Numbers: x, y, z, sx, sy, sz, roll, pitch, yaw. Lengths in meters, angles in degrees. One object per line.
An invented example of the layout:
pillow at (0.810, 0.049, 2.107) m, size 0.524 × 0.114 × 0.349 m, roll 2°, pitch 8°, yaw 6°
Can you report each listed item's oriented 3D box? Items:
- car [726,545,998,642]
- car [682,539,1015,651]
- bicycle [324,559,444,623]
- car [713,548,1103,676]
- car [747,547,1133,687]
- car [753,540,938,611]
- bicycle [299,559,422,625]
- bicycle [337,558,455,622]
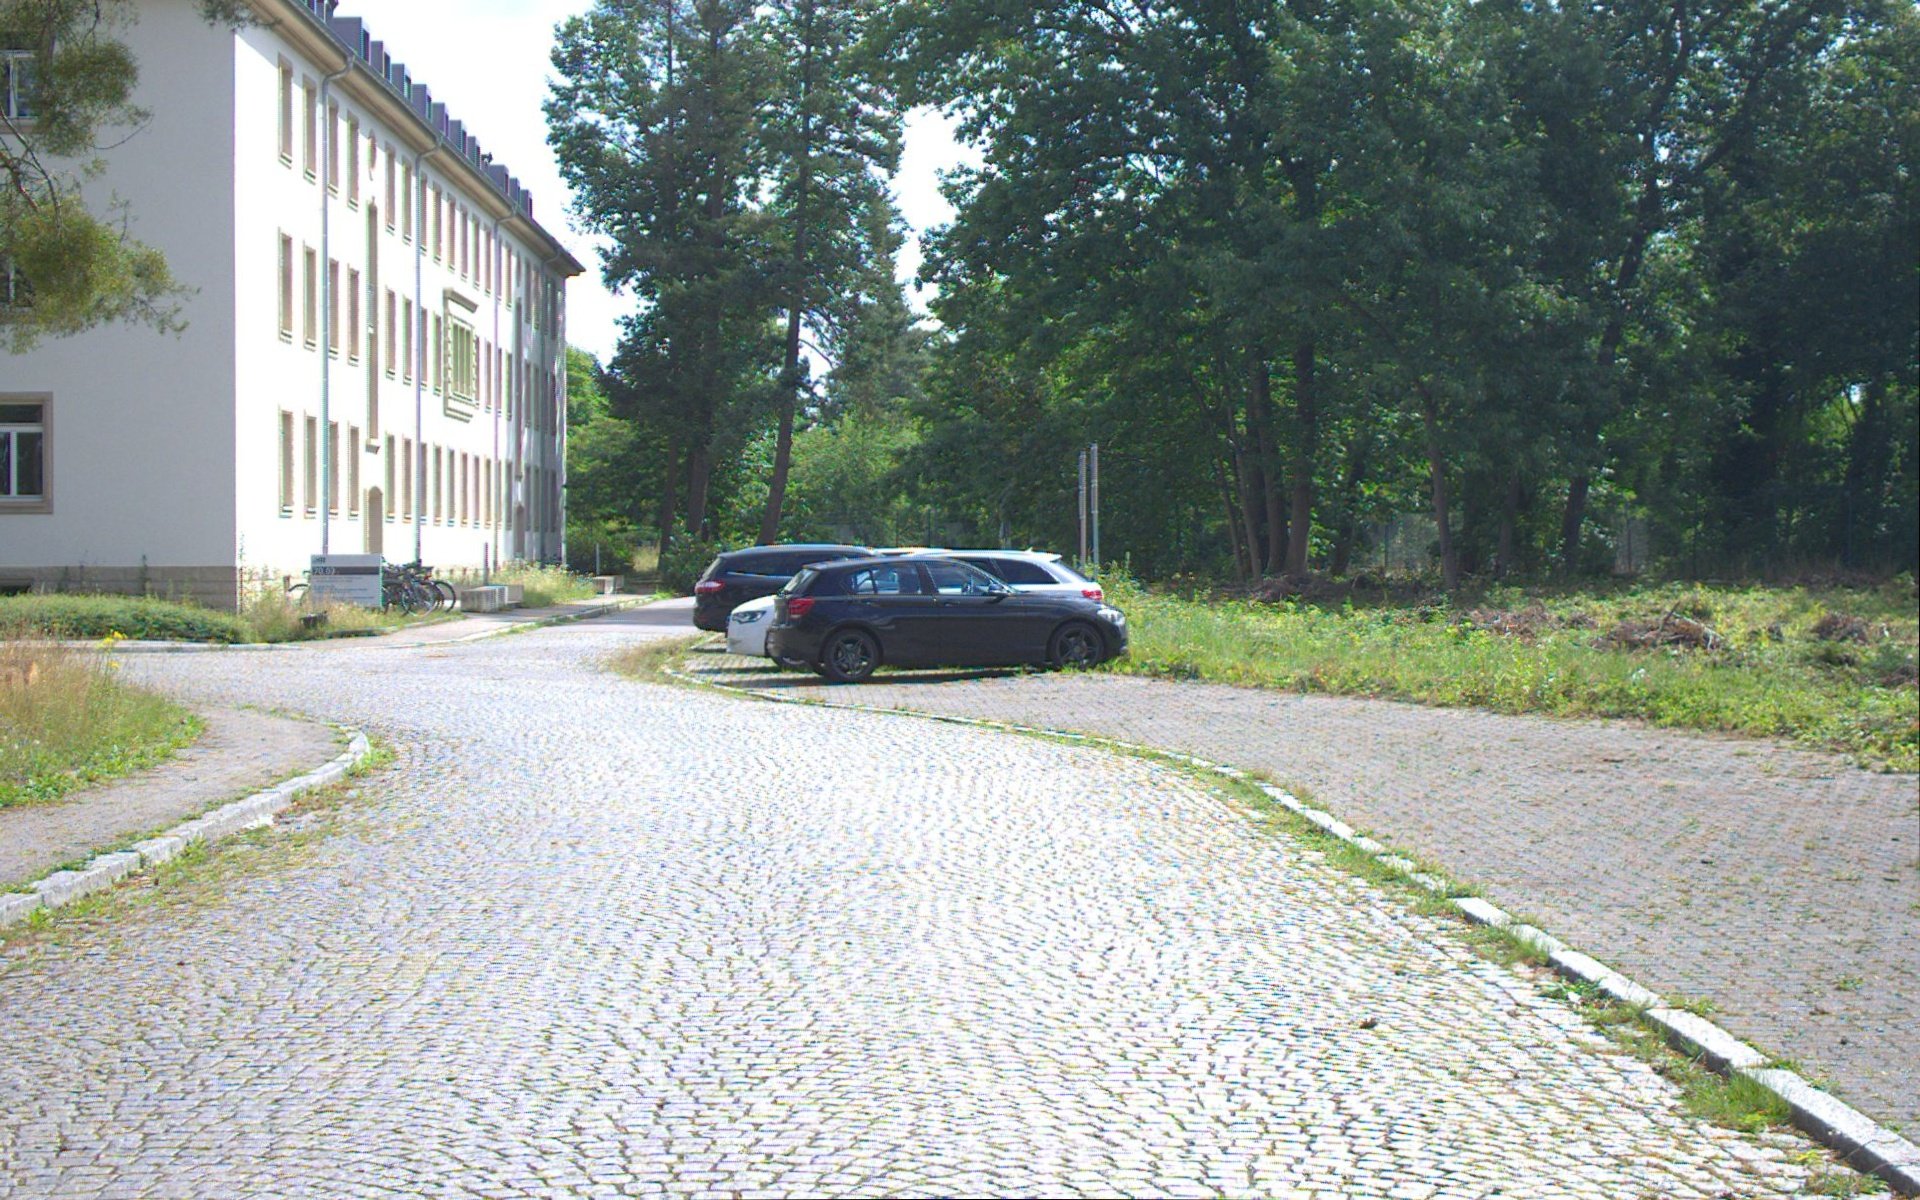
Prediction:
car at (-1.632, -0.116, 56.671) m, size 4.398 × 1.479 × 1.766 m, roll -1°, pitch 0°, yaw -3°
car at (-1.681, -0.082, 51.354) m, size 4.852 × 1.547 × 1.880 m, roll -1°, pitch 0°, yaw -3°
bicycle at (-11.263, -0.181, 67.252) m, size 2.222 × 1.256 × 0.623 m, roll 0°, pitch 1°, yaw 5°
car at (-0.694, 0.134, 44.023) m, size 4.861 × 1.467 × 1.875 m, roll -1°, pitch 2°, yaw -3°
car at (-0.264, 0.178, 40.844) m, size 4.323 × 1.495 × 1.830 m, roll -1°, pitch 2°, yaw -9°
car at (-2.621, -0.556, 79.470) m, size 4.187 × 1.538 × 1.820 m, roll -1°, pitch 0°, yaw 0°
bicycle at (-11.421, -0.157, 65.507) m, size 2.222 × 1.256 × 0.623 m, roll 0°, pitch 1°, yaw 5°
bicycle at (-11.187, -0.208, 68.189) m, size 2.222 × 1.256 × 0.623 m, roll 0°, pitch 1°, yaw 1°
